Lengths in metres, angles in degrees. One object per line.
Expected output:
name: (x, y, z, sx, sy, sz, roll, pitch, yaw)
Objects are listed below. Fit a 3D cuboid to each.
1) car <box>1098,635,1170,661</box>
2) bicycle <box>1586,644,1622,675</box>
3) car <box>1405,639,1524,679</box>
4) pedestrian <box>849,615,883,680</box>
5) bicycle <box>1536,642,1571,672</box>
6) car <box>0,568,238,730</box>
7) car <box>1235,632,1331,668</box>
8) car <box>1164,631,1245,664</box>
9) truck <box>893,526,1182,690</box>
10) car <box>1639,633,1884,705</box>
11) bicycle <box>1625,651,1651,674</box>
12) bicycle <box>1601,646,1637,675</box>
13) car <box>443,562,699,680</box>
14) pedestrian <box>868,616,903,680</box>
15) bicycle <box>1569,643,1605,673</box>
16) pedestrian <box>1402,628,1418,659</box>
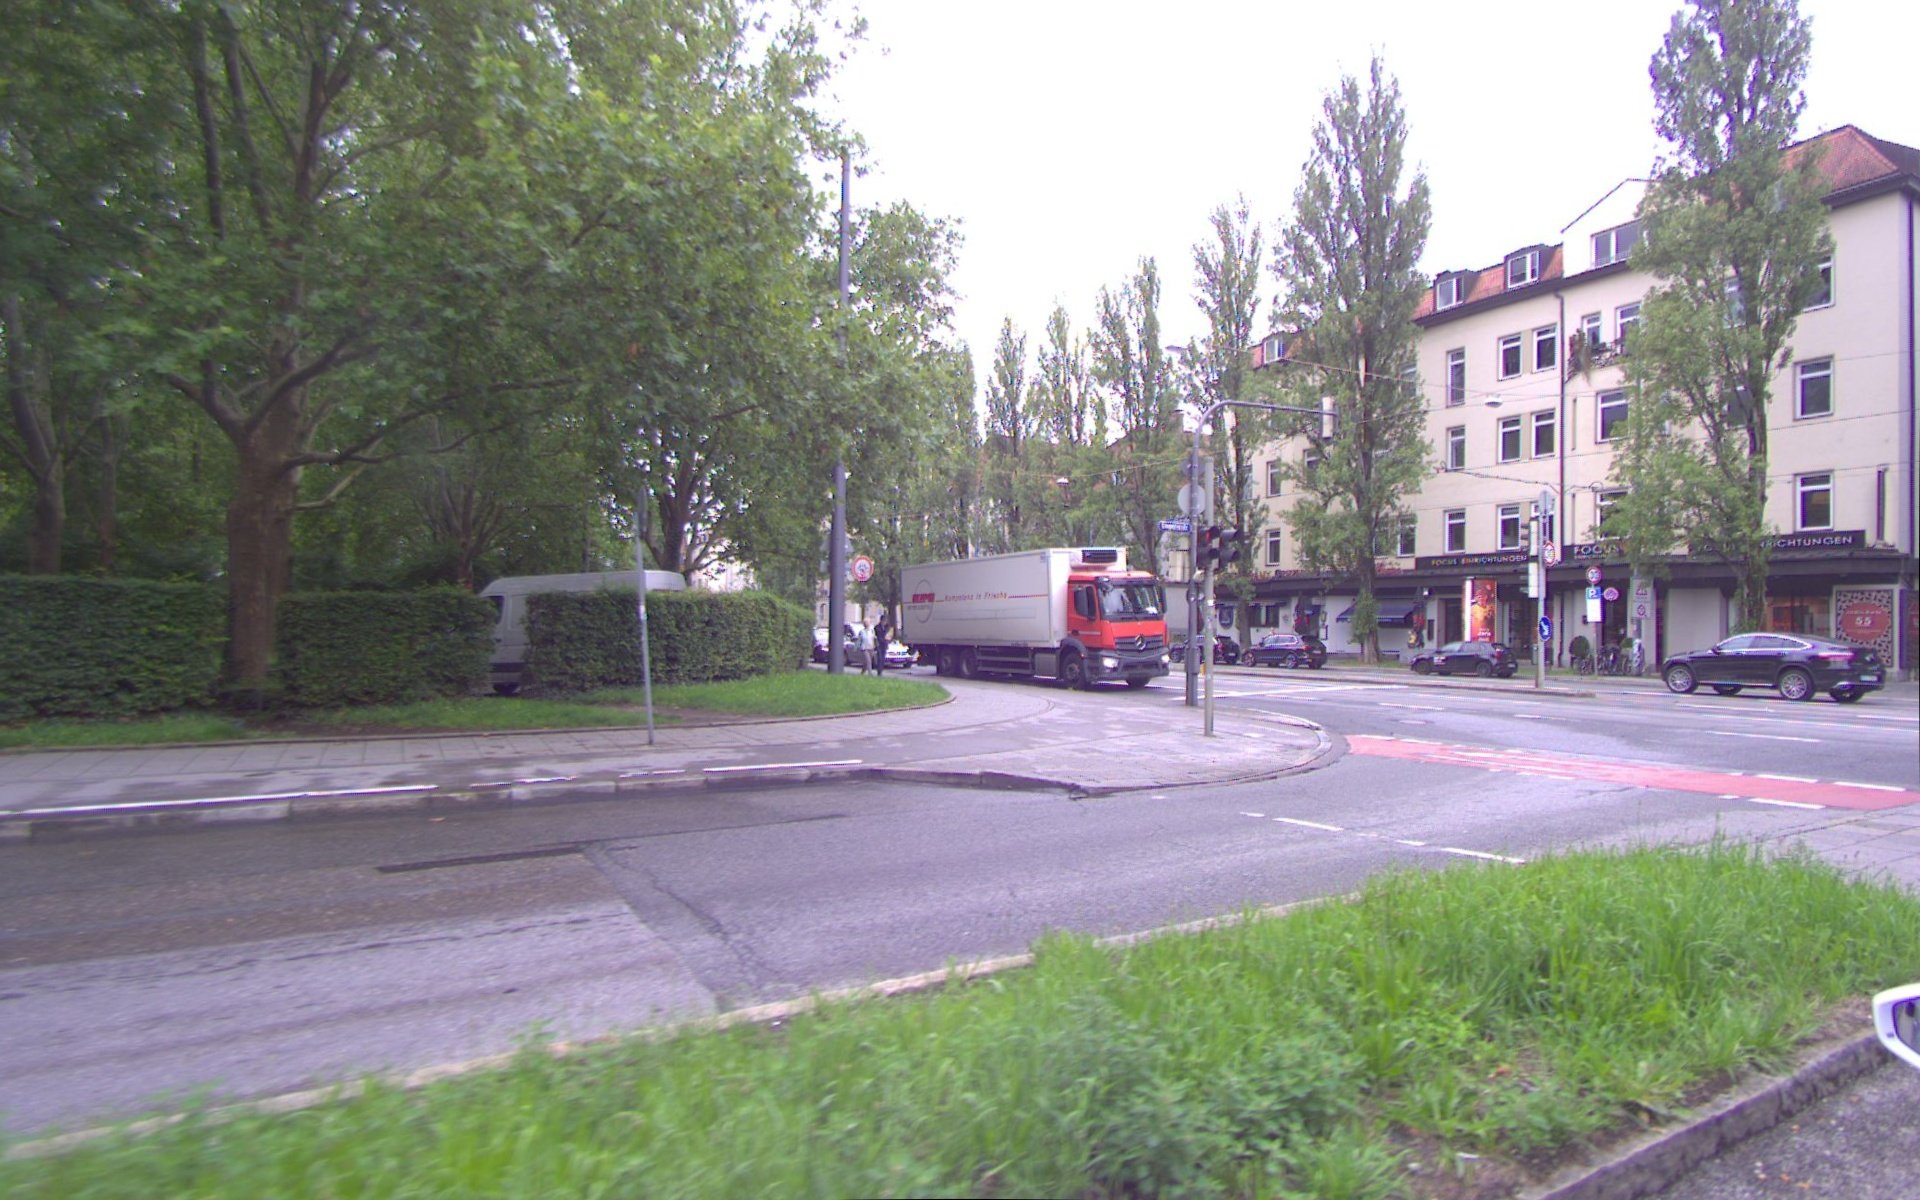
car: (10.061, 2.750, 58.414, 1.784, 1.417, 4.347, 2, -2, -30)
bicycle: (25.602, 2.350, 39.910, 1.869, 1.200, 0.492, 2, -2, -33)
car: (20.332, 2.359, 40.646, 1.786, 1.485, 3.964, 3, -2, -33)
pedestrian: (-2.479, 1.238, 26.436, 0.681, 1.685, 0.548, 2, -2, -43)
bicycle: (24.679, 2.353, 41.742, 1.869, 1.200, 0.492, 2, -2, -33)
car: (-11.073, 0.542, 13.036, 3.466, 1.787, 1.771, 2, 0, 37)
car: (15.551, 2.372, 48.523, 1.706, 1.633, 4.435, 2, -2, -30)
car: (12.914, 2.489, 53.298, 1.784, 1.633, 4.271, 2, -2, -30)
truck: (1.725, 0.327, 30.458, 2.716, 4.033, 11.624, 0, -1, -30)
car: (19.793, 1.645, 25.068, 1.717, 1.569, 4.552, 1, -2, -23)
bicycle: (27.305, 2.519, 40.464, 1.357, 0.895, 0.385, 2, -2, -33)
bicycle: (25.900, 2.367, 39.479, 1.869, 1.096, 0.492, 2, -2, -33)
car: (-8.065, 0.465, 21.008, 4.535, 2.040, 2.001, -4, -2, 11)
pedestrian: (-2.000, 1.287, 26.992, 0.681, 1.685, 0.653, 2, -2, -42)
bicycle: (25.328, 2.344, 40.558, 1.869, 1.200, 0.492, 2, -2, -33)
pedestrian: (23.550, 2.269, 52.564, 0.568, 1.583, 0.492, 2, 0, -29)
